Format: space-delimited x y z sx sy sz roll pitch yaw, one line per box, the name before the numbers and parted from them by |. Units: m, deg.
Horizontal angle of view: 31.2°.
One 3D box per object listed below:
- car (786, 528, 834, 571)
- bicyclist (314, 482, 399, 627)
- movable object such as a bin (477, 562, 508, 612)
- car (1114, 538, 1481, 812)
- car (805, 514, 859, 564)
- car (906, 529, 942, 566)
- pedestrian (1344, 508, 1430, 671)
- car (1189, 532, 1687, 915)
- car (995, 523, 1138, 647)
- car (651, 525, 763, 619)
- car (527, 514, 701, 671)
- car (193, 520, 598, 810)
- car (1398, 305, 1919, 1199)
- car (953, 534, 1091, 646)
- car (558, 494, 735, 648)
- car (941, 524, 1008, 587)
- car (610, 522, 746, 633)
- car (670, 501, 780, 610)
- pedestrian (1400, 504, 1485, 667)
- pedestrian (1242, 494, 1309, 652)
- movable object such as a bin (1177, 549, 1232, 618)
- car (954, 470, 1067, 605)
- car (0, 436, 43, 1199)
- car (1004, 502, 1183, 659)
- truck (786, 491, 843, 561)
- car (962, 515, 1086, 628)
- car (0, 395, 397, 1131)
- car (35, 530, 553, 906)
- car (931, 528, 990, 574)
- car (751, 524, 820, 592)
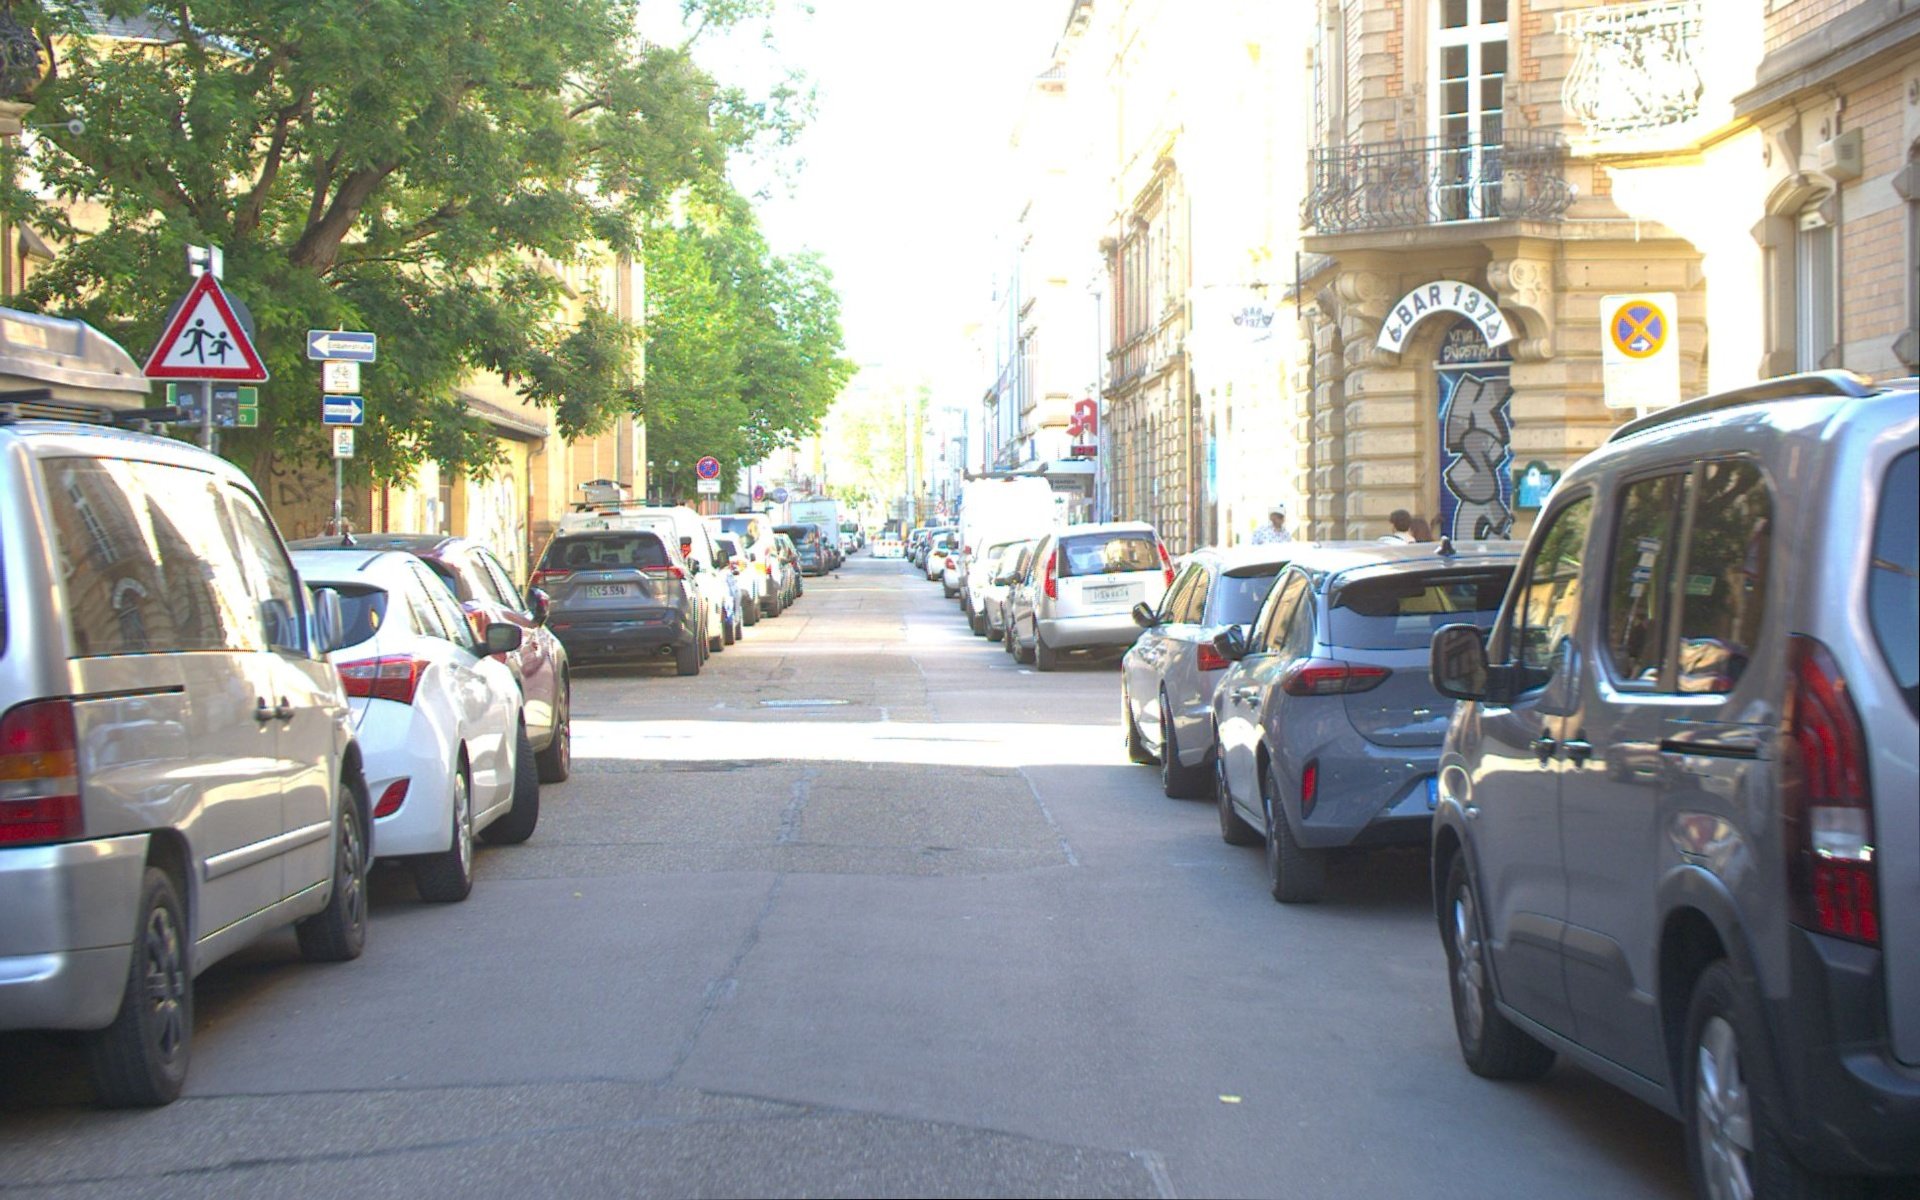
car | -6.450 -2.172 147.601 1.875 1.790 4.001 0 1 -5
bicyclist | -7.335 -0.559 41.796 0.805 1.717 0.692 2 2 7
movable object such as a bin | -7.703 -0.217 56.669 0.453 0.805 0.590 0 1 -1
car | 1.950 0.372 21.084 1.706 1.454 4.511 1 1 -1
car | -4.667 -2.223 125.599 1.875 1.790 4.000 0 1 -1
car | -2.008 -2.919 190.226 1.993 2.007 4.000 0 1 -1
pedestrian | 4.279 -0.112 34.497 0.590 1.598 0.728 -2 2 -16
car | 2.028 0.452 15.596 1.666 1.474 3.888 0 2 -1
car | 1.344 -0.228 44.748 1.535 1.508 3.682 -1 1 -3
car | -4.378 -0.516 59.900 1.742 1.581 3.869 0 1 -1
car | -3.800 -0.125 38.326 1.740 1.641 4.290 0 1 -3
car | -3.170 0.299 20.031 1.722 1.476 4.090 1 1 -1
car | 2.278 0.419 8.361 1.769 1.954 4.264 1 1 -1
car | 0.868 -0.180 50.444 1.572 1.520 3.909 2 1 -5
car | -3.940 -0.416 43.841 1.845 1.856 4.465 0 2 0
car | 0.354 -1.123 85.333 1.603 1.499 4.000 1 1 0
car | -4.004 -0.356 49.335 1.687 1.471 3.861 -2 1 -2
car | -4.439 -0.872 65.538 1.864 1.950 4.611 -2 1 -2
pedestrian | 4.869 -0.155 34.710 0.574 1.616 0.734 -2 2 -16
pedestrian | 3.511 -0.311 38.285 0.574 1.726 0.664 -2 2 -8
movable object such as a bin | 3.842 -0.252 54.035 0.548 1.049 0.603 -4 2 -34
car | 0.968 -1.290 69.481 2.068 2.602 5.888 0 1 -1
car | -2.881 0.491 5.129 1.788 1.619 4.608 1 1 0
car | 1.505 -0.260 40.085 1.703 1.708 3.939 -1 1 -3
truck | -6.920 -3.542 164.071 2.532 3.270 6.995 0 1 -1
car | 0.988 -0.466 54.838 1.807 1.684 4.214 2 1 -1
car | -3.059 0.331 10.613 1.892 1.778 4.608 1 1 -1
car | -2.796 0.420 15.202 1.674 1.415 3.875 1 1 -3
car | 0.014 -1.628 113.855 1.897 1.483 3.870 0 1 -1
car | -4.370 -1.071 86.464 1.600 1.608 3.809 -3 1 -2
